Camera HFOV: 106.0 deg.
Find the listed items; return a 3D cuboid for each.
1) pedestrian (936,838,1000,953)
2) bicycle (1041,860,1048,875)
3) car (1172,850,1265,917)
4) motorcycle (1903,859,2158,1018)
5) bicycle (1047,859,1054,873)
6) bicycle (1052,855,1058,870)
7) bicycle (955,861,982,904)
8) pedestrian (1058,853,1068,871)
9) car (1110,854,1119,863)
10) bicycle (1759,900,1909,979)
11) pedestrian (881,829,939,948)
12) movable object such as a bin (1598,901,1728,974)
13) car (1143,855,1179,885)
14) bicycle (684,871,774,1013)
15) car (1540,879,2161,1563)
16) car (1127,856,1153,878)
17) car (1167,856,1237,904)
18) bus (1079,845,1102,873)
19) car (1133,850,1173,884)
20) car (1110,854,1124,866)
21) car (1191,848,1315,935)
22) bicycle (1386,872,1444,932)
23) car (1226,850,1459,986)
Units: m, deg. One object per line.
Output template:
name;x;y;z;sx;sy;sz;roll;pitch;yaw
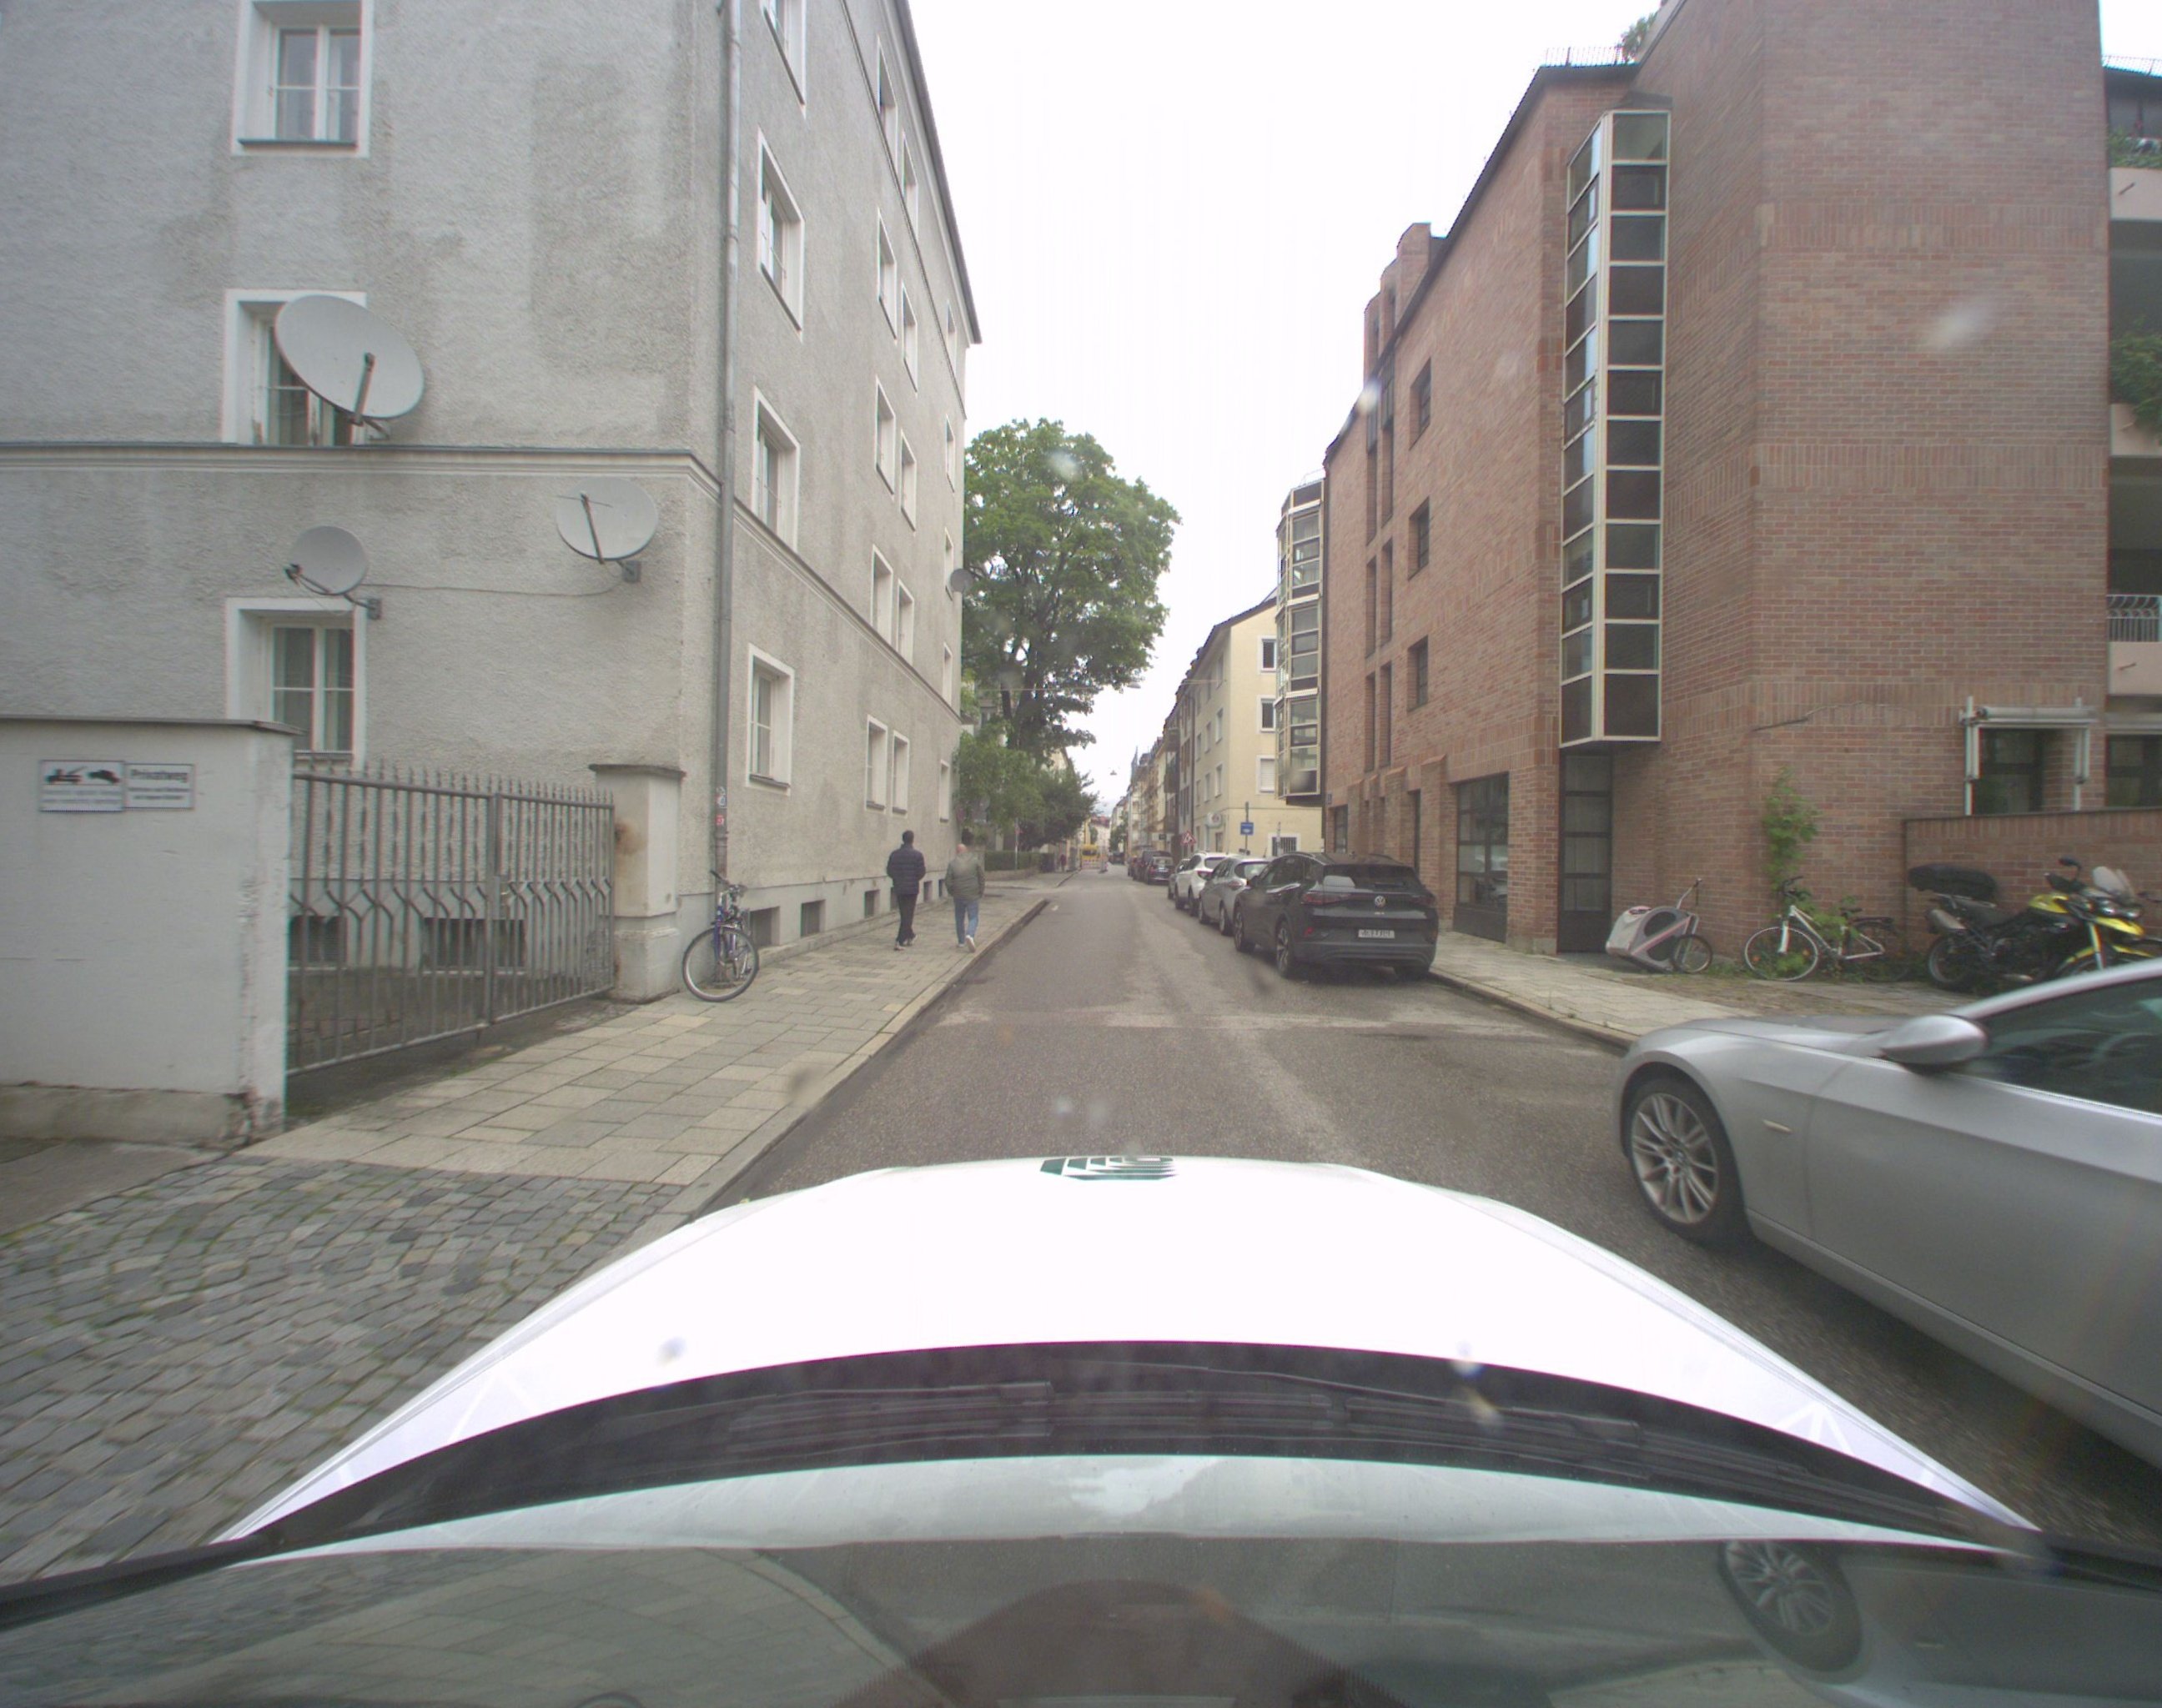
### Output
pedestrian;-1.717;0.616;12.499;0.750;1.659;0.906;3;-1;1
bicycle;-2.526;0.900;56.511;0.413;1.020;1.854;0;-1;1
car;3.580;0.717;21.932;1.743;1.630;4.194;0;0;-1
motorcycle;9.059;0.724;7.904;0.536;1.345;1.947;0;-1;13
bicycle;-2.324;0.927;62.047;0.444;1.073;2.467;0;-1;0
bicycle;-2.396;0.782;74.857;0.512;1.418;1.934;0;-1;1
bicycle;-3.135;0.775;22.630;0.474;1.111;1.750;1;0;-16
pedestrian;-1.525;0.668;68.886;0.753;1.491;0.831;0;-1;1
car;6.341;0.886;154.290;1.794;1.614;4.001;1;0;1
bicycle;8.635;0.974;9.361;1.311;0.859;0.414;0;-1;1
pedestrian;-2.568;0.511;12.312;0.610;1.713;0.823;3;-1;1
movable object such as a bin;7.396;1.051;10.399;1.082;0.832;0.844;0;0;2
car;4.275;0.840;43.839;1.619;1.487;3.809;1;0;1
bicycle;-3.405;0.790;8.002;0.643;1.217;1.655;0;-1;-18
car;3.279;0.852;1.905;1.830;1.417;4.600;1;0;0
car;4.307;0.932;60.085;1.630;1.515;3.829;4;0;1
car;3.922;0.800;27.007;1.739;1.445;3.999;1;0;0
bus;1.112;0.546;93.963;2.583;3.102;6.307;0;-1;1
car;4.207;0.753;48.202;1.796;1.820;3.998;4;0;-1
car;5.511;0.878;126.015;1.796;1.712;3.825;4;0;-1
car;3.503;0.729;17.291;1.716;1.635;3.878;0;-1;-2
bicycle;6.485;0.905;15.885;0.557;1.079;1.472;1;0;2
car;3.451;0.750;11.715;1.880;1.555;4.389;1;0;-1
